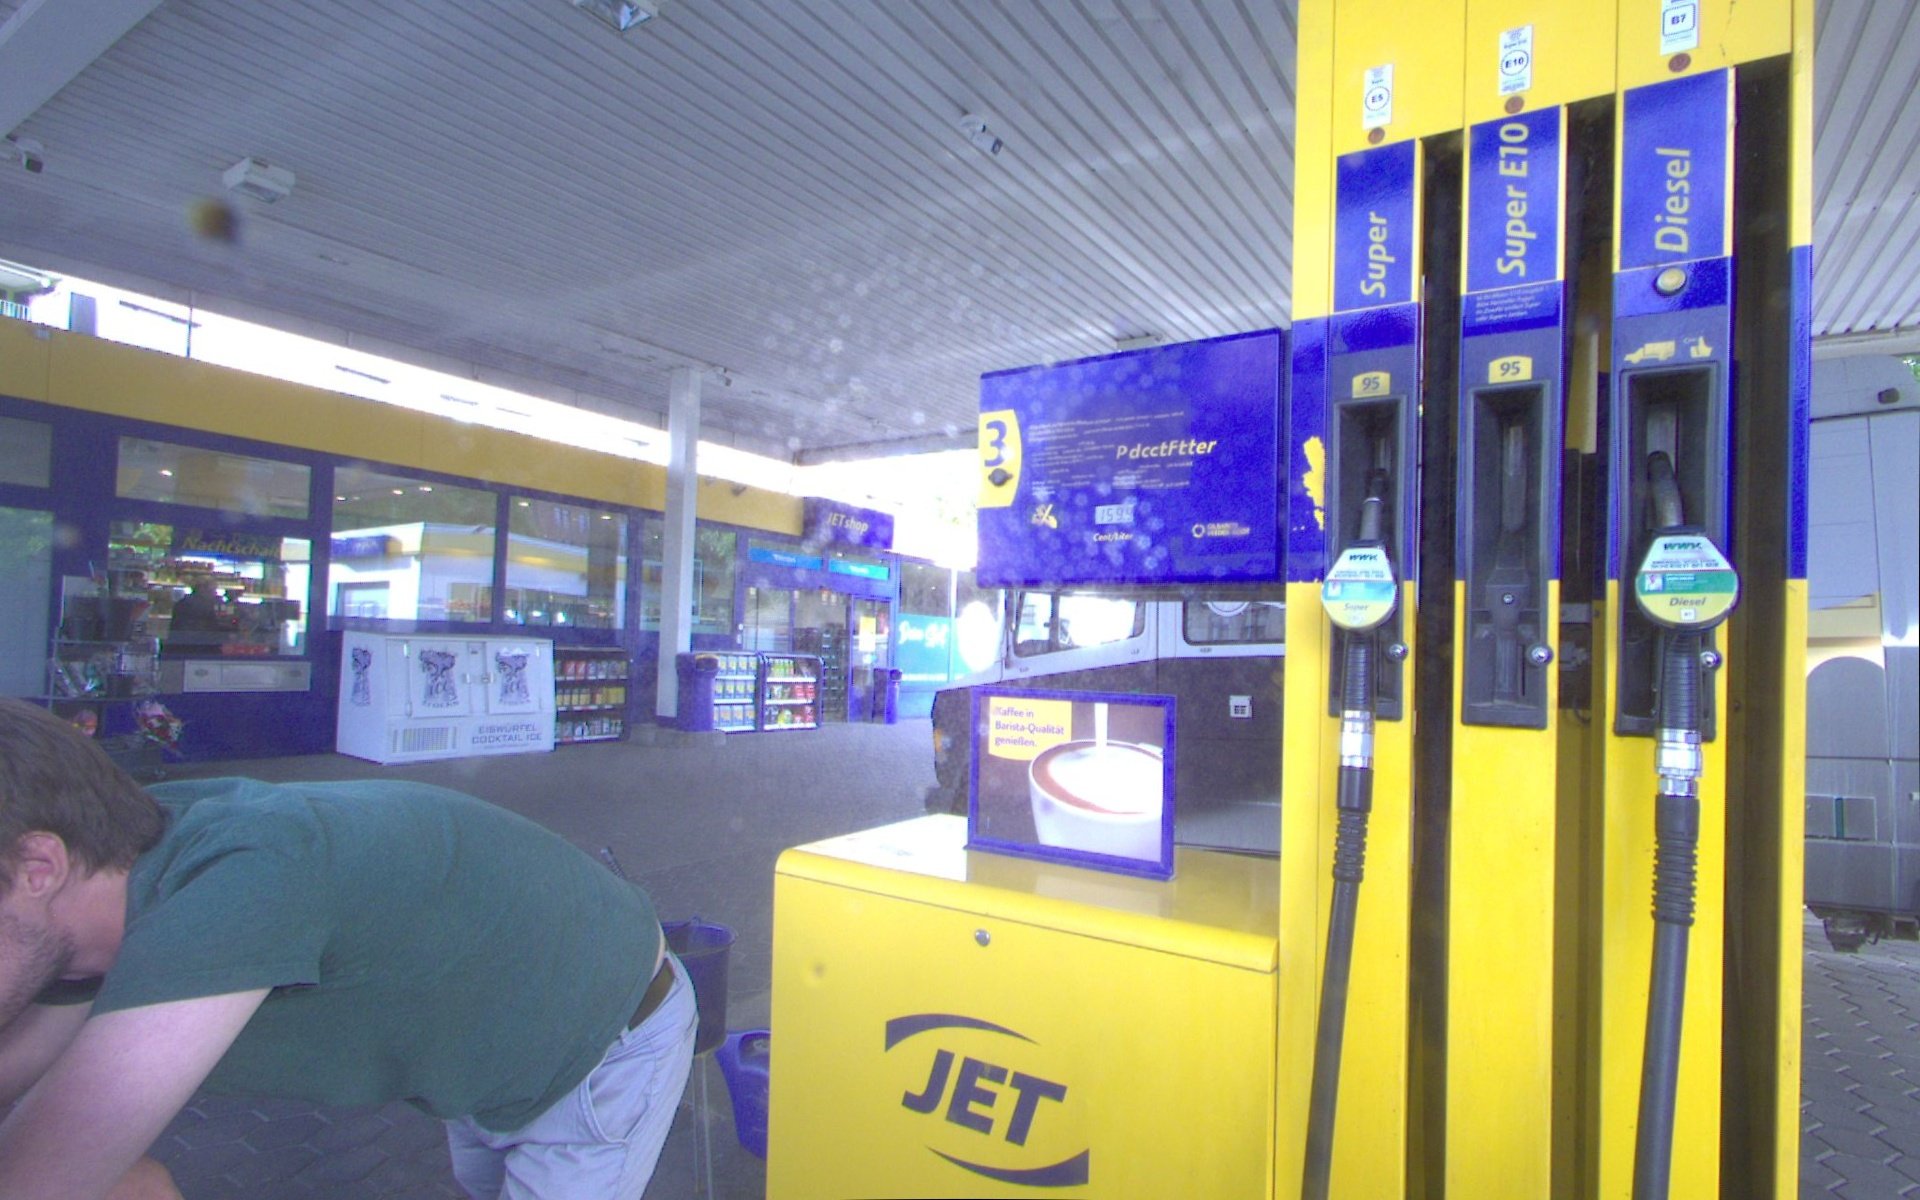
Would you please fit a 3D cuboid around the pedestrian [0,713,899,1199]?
[{"bbox_3d":[-0.548,0.809,1.074,0.664,1.298,0.749,-1,-1,31],"label":"pedestrian"}]

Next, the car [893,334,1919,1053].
[{"bbox_3d":[2.375,0.414,6.020,5.219,2.724,2.250,0,-3,34],"label":"car"}]
